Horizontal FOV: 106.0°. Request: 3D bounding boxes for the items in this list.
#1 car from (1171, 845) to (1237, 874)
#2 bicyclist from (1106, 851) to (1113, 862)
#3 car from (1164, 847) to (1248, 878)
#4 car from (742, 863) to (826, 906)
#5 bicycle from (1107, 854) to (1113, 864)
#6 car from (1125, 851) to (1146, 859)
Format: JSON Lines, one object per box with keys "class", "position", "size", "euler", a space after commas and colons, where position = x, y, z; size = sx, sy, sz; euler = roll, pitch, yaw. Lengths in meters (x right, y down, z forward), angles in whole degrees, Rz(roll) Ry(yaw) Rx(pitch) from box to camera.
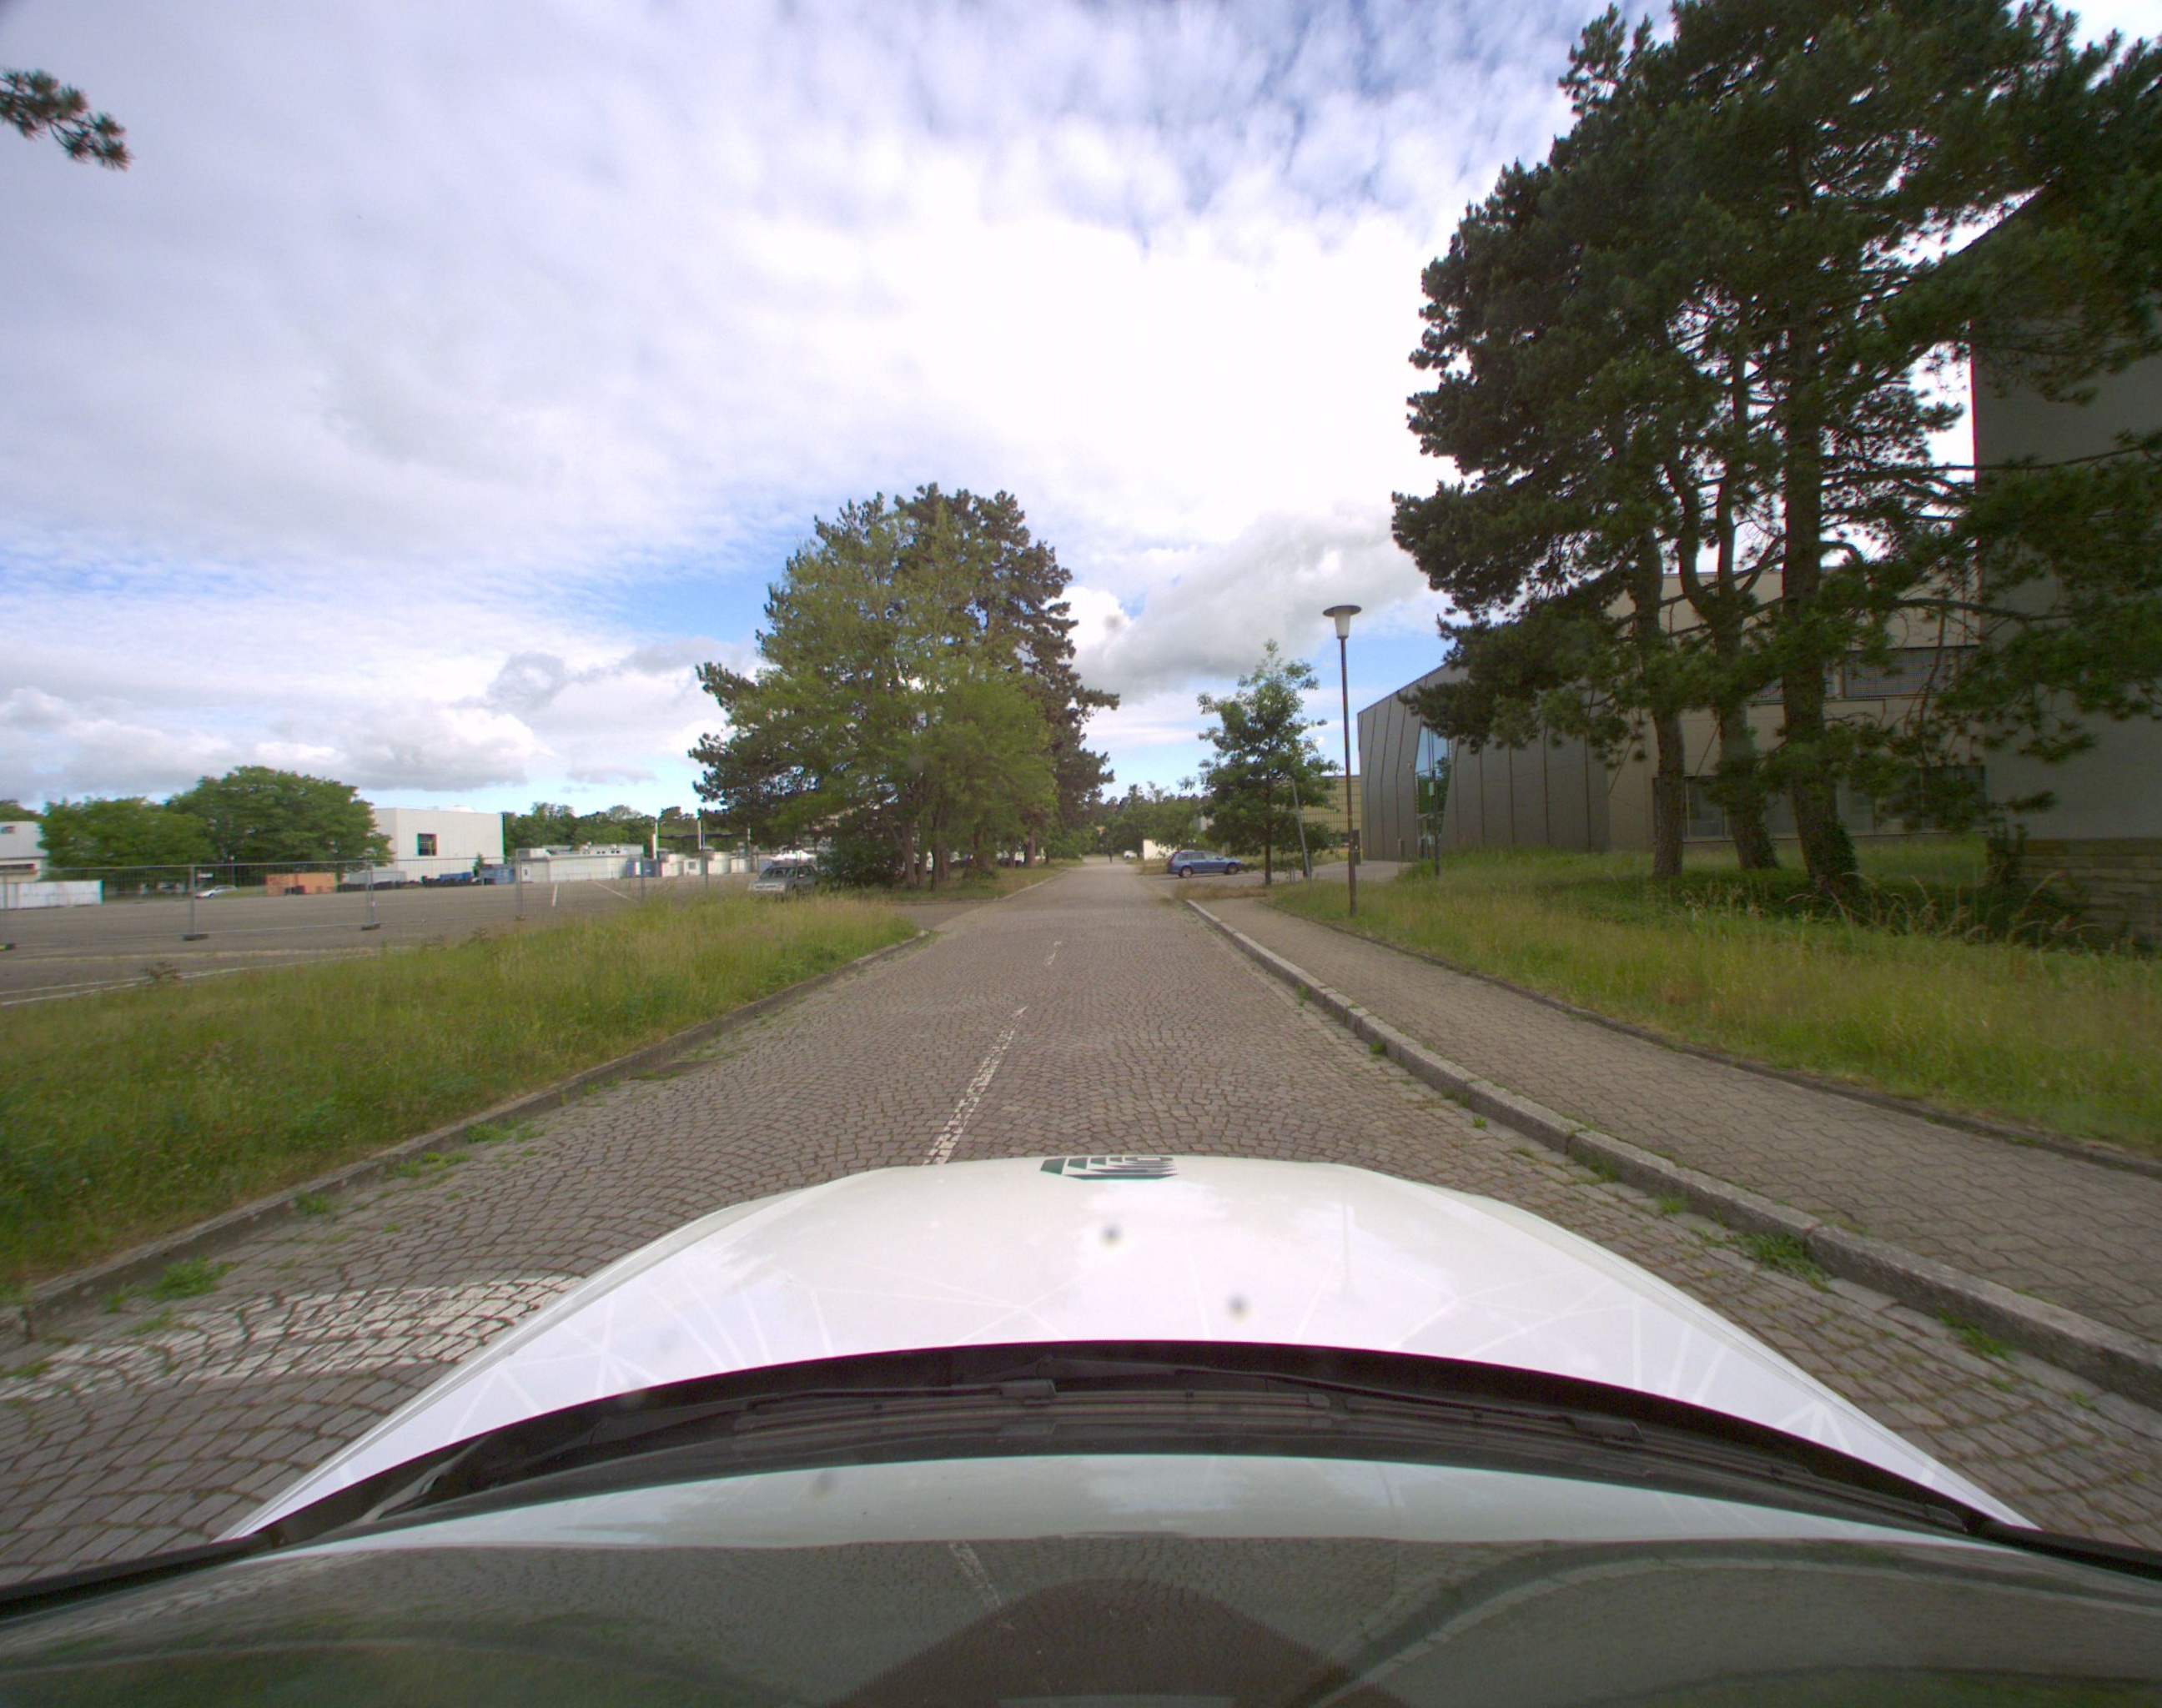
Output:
{"class": "car", "position": [8.177, 0.359, 54.401], "size": [4.095, 1.572, 1.764], "euler": [-4, 0, -1]}
{"class": "bicyclist", "position": [4.145, 0.345, 117.203], "size": [0.894, 1.542, 0.868], "euler": [-2, 1, 1]}
{"class": "car", "position": [7.166, 0.484, 46.966], "size": [4.467, 1.462, 1.934], "euler": [-4, 0, -1]}
{"class": "car", "position": [-11.795, 1.156, 32.640], "size": [1.724, 1.432, 4.163], "euler": [-2, 1, 1]}
{"class": "bicycle", "position": [4.153, 0.652, 117.186], "size": [0.821, 1.376, 2.043], "euler": [-2, 1, 1]}
{"class": "car", "position": [11.148, 0.179, 166.778], "size": [4.304, 1.549, 2.002], "euler": [-2, 0, 3]}
